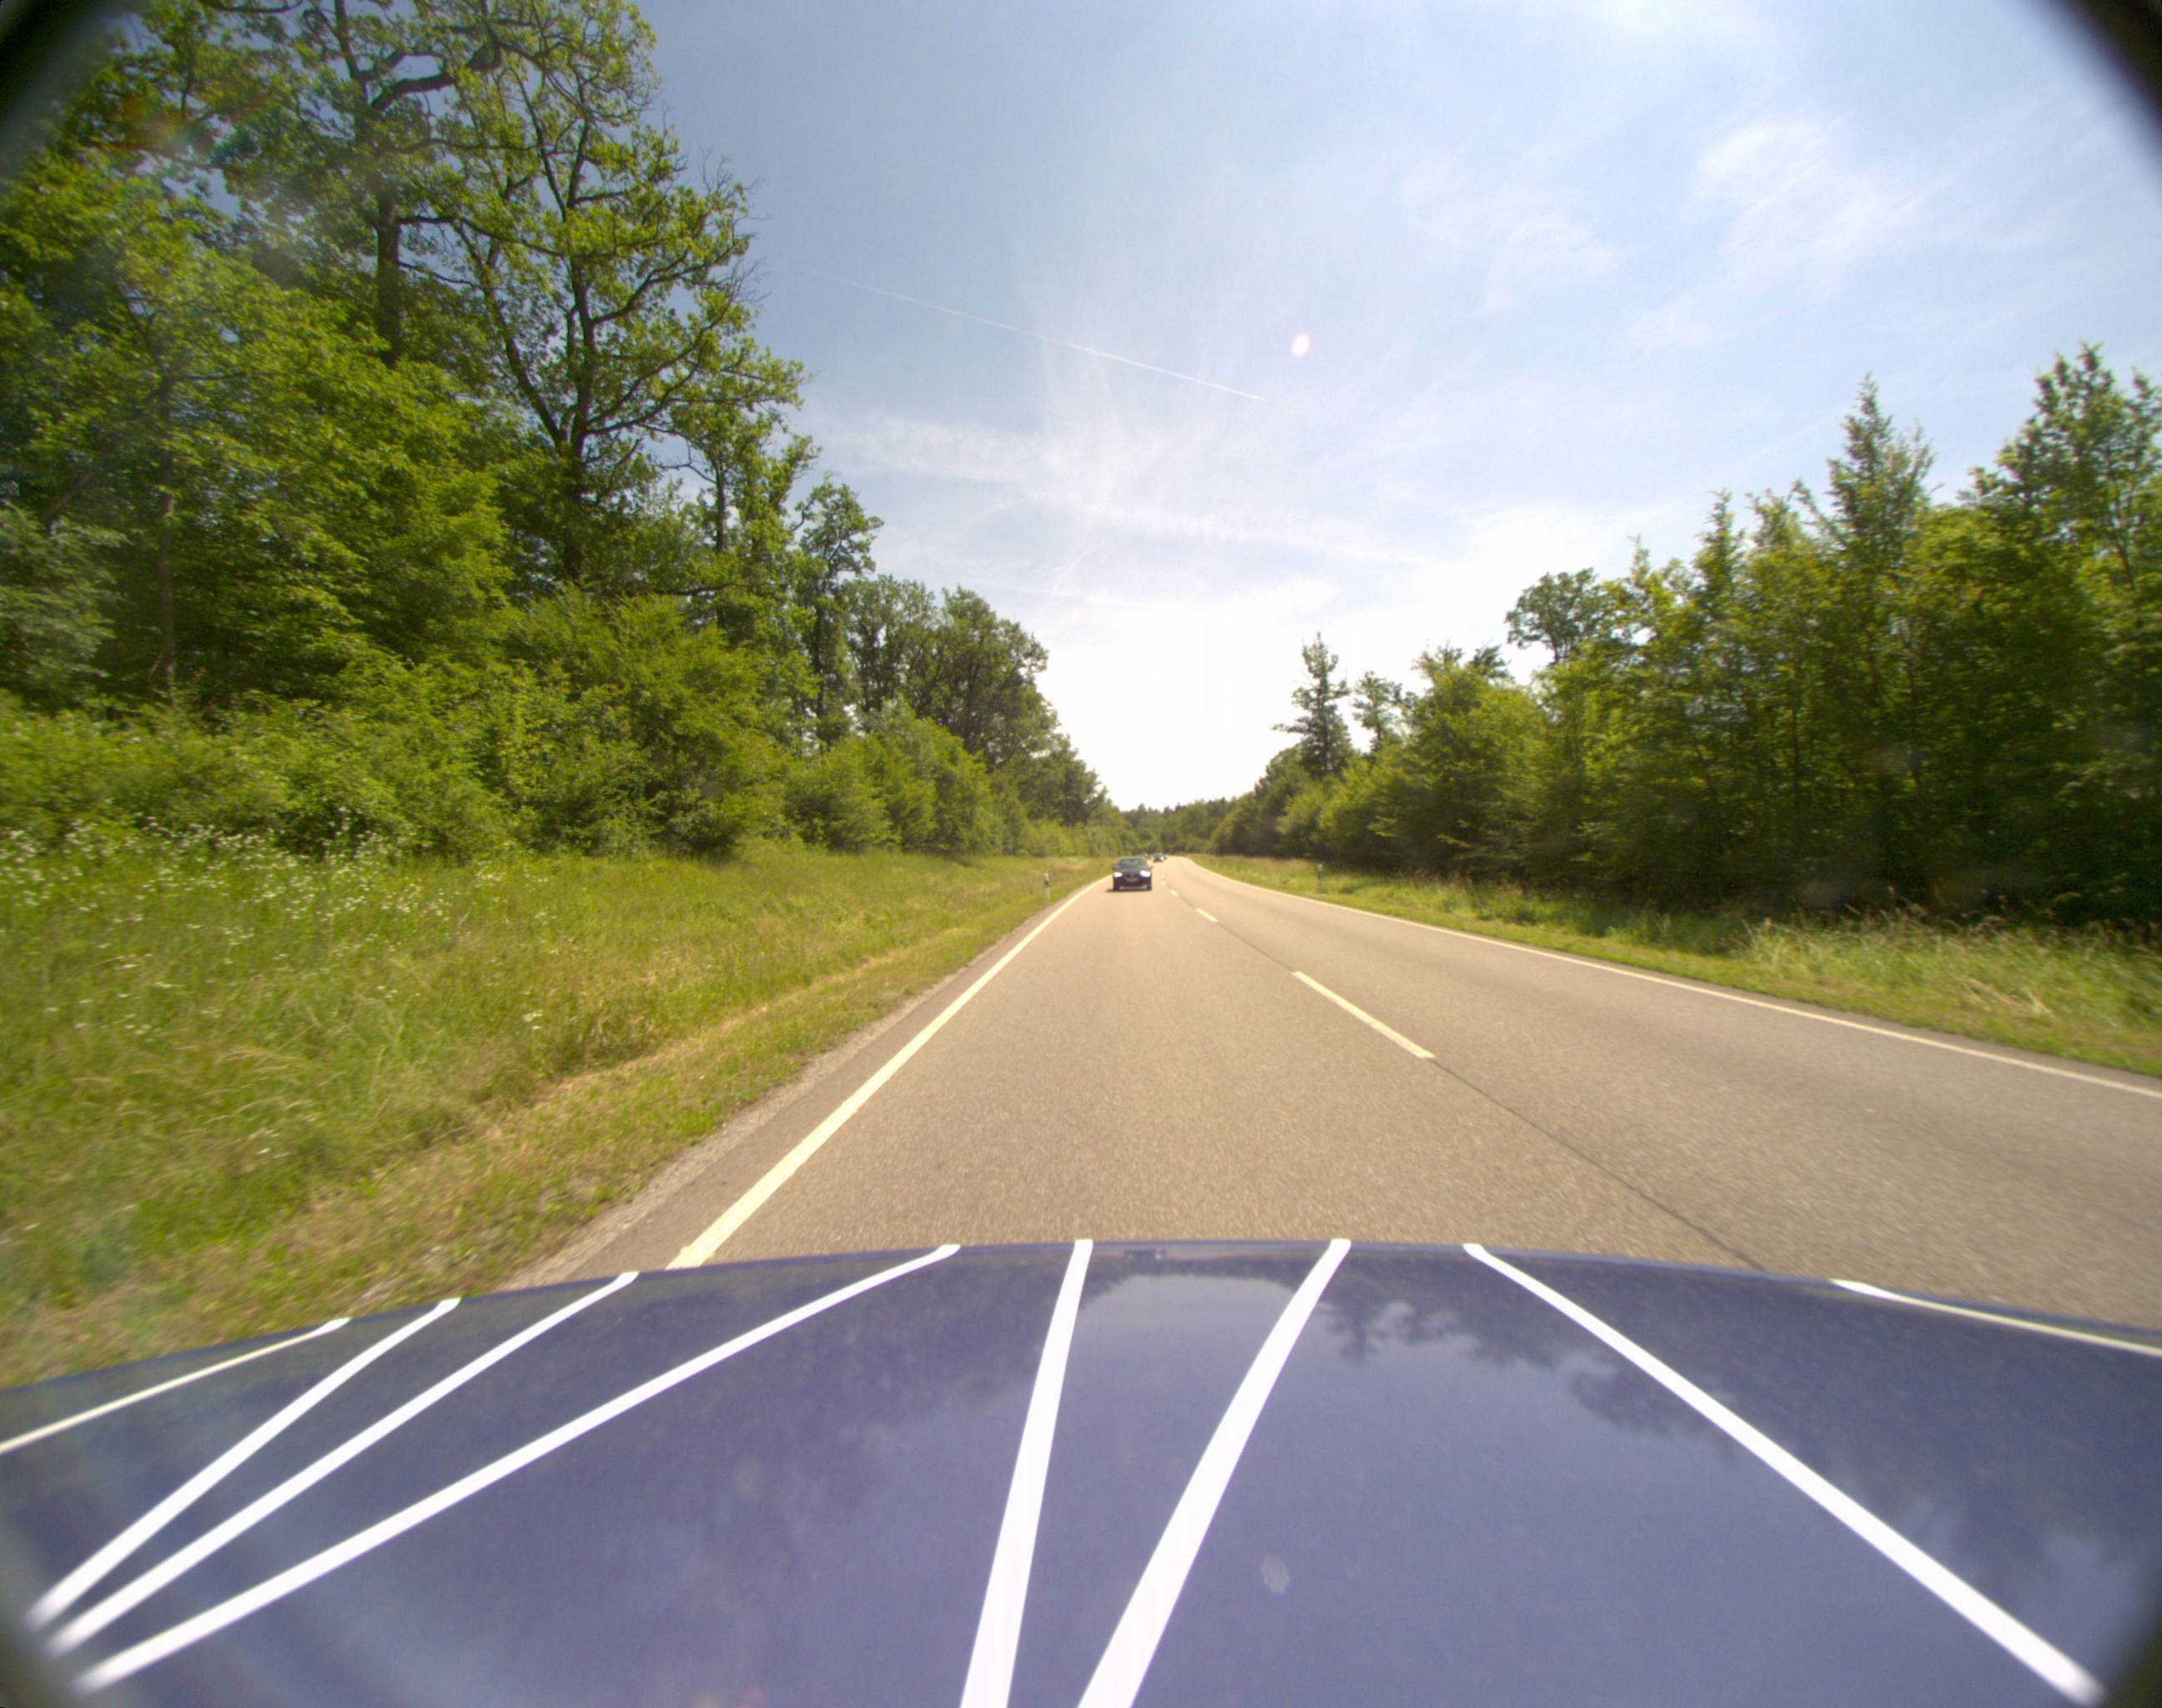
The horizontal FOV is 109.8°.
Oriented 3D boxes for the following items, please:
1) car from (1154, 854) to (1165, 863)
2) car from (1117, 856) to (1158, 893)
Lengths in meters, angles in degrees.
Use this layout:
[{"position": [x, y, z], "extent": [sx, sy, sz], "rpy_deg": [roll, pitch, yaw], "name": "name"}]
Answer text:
[{"position": [13.954, 0.797, 135.605], "extent": [1.775, 1.454, 3.949], "rpy_deg": [-1, 0, 5], "name": "car"}, {"position": [2.632, 0.903, 34.999], "extent": [1.713, 1.516, 4.243], "rpy_deg": [-3, 0, 5], "name": "car"}]
